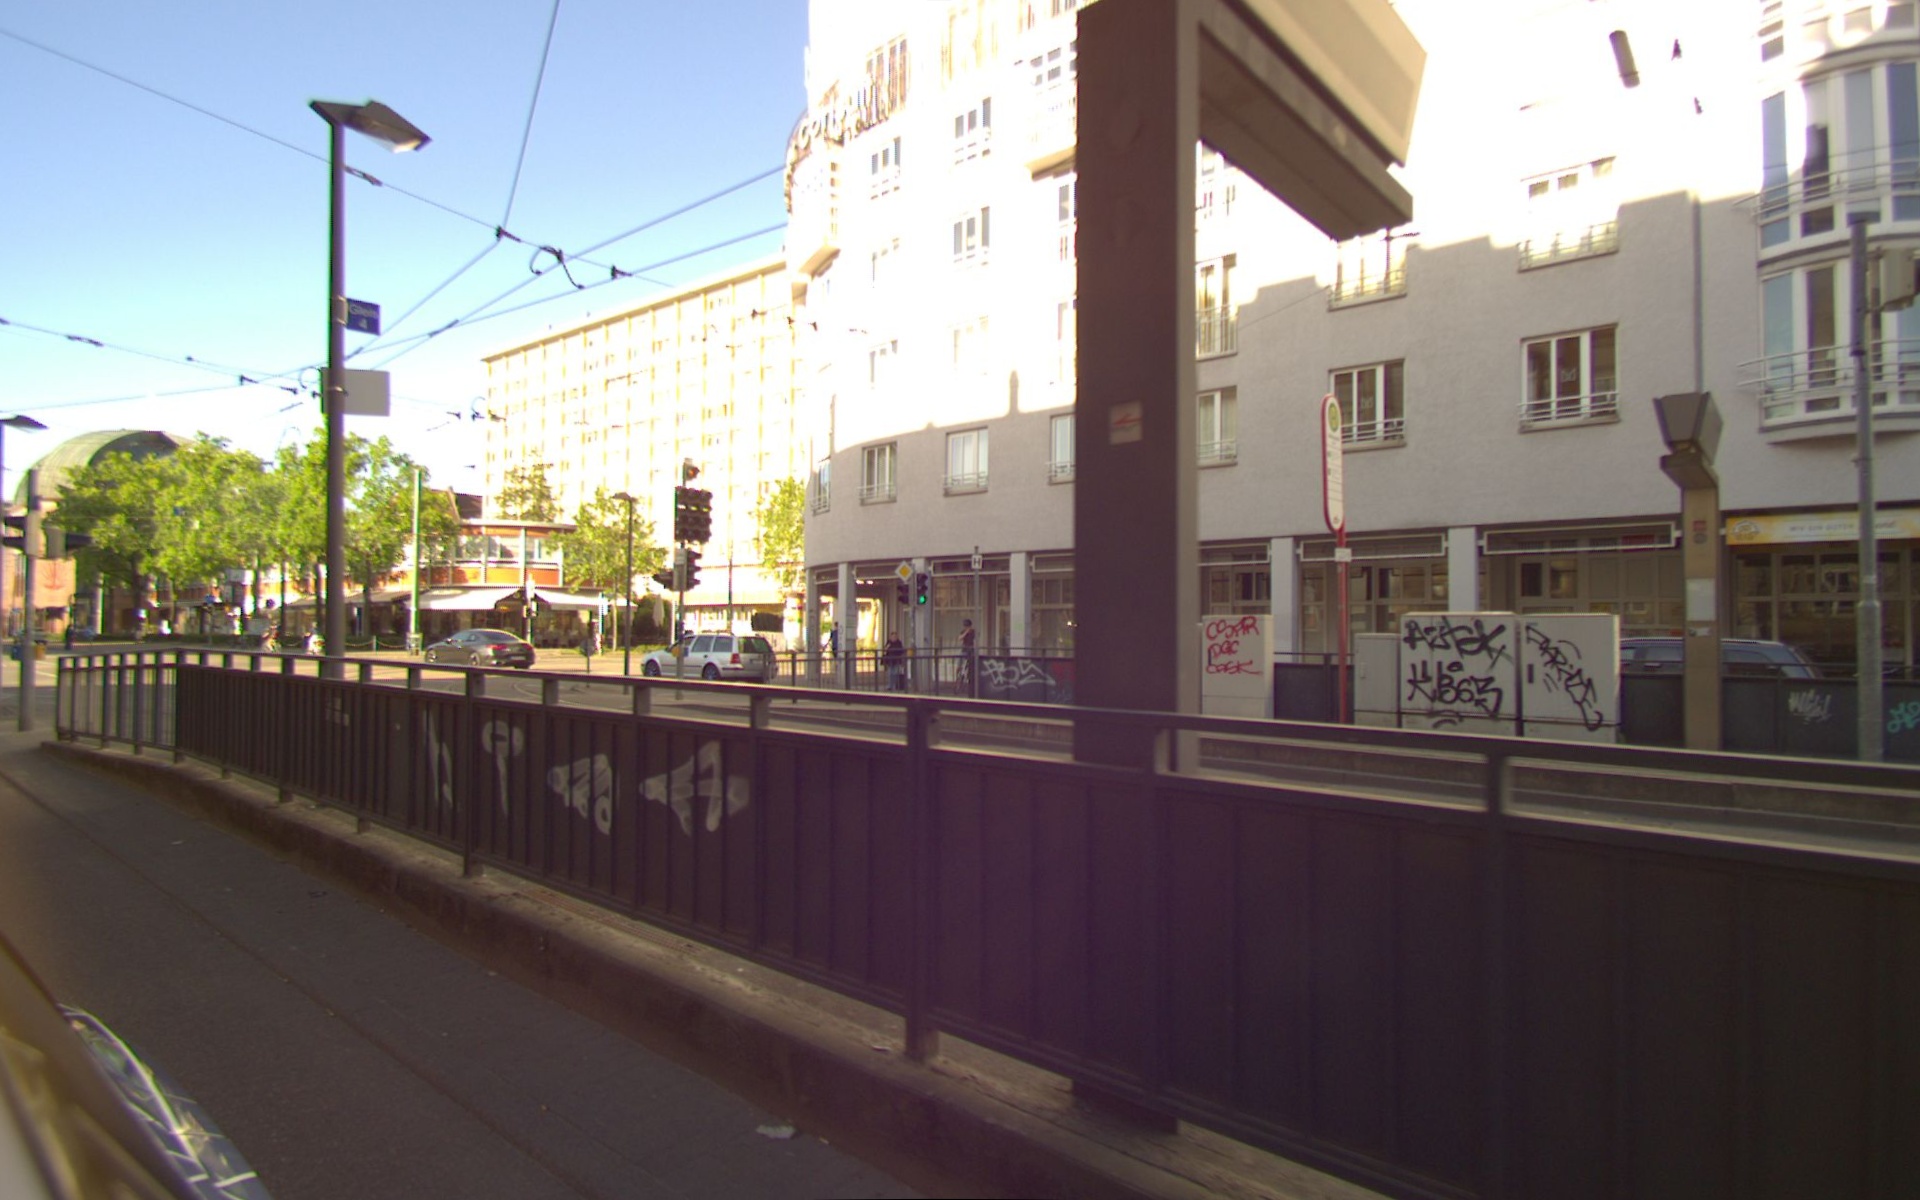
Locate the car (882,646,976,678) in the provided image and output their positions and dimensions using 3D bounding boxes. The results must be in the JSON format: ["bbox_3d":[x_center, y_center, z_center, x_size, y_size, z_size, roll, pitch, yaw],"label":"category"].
[{"bbox_3d":[-1.454,2.905,47.283,4.082,1.414,1.787,-3,-4,27],"label":"car"}]

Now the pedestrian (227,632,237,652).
[{"bbox_3d":[-65.385,3.765,90.906,0.706,1.785,0.566,-2,-4,42],"label":"pedestrian"}]

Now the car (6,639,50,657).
[{"bbox_3d":[-76.387,3.920,82.940,4.645,1.463,1.974,-2,-3,39],"label":"car"}]

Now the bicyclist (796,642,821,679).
[{"bbox_3d":[-6.535,2.602,43.662,0.589,1.597,0.885,0,-3,36],"label":"bicyclist"}]

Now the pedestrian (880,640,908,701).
[{"bbox_3d":[-1.718,1.829,26.363,0.675,1.546,0.442,-1,-3,4],"label":"pedestrian"}]

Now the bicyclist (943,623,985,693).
[{"bbox_3d":[0.098,1.433,25.351,0.711,1.708,1.032,1,-2,-21],"label":"bicyclist"}]

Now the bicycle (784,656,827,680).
[{"bbox_3d":[-6.616,2.894,43.467,0.594,0.980,2.023,0,-2,35],"label":"bicycle"}]

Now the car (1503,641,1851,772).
[{"bbox_3d":[9.597,1.341,13.701,3.644,1.521,1.673,-3,-3,42],"label":"car"}]

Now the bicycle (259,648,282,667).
[{"bbox_3d":[-37.247,3.102,54.657,1.817,0.980,0.587,0,-3,42],"label":"bicycle"}]

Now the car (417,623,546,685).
[{"bbox_3d":[-16.158,1.775,34.075,4.605,1.925,2.204,-1,-3,40],"label":"car"}]

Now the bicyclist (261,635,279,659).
[{"bbox_3d":[-37.232,2.523,54.601,0.926,1.295,0.582,0,-3,41],"label":"bicyclist"}]

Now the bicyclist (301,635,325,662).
[{"bbox_3d":[-31.900,2.387,49.898,0.988,1.295,0.584,0,-2,31],"label":"bicyclist"}]

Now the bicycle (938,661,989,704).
[{"bbox_3d":[0.063,2.052,25.358,0.666,0.987,1.767,1,-2,-22],"label":"bicycle"}]

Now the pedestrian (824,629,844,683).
[{"bbox_3d":[-4.461,1.976,35.716,0.457,1.847,0.742,-2,-3,13],"label":"pedestrian"}]

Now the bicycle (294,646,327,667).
[{"bbox_3d":[-32.064,2.767,49.978,1.848,0.980,0.589,0,-2,32],"label":"bicycle"}]

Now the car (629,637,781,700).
[{"bbox_3d":[-6.901,1.767,27.147,4.401,1.526,1.711,-1,-3,40],"label":"car"}]

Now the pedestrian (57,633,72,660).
[{"bbox_3d":[-52.723,2.730,59.588,0.858,1.529,0.494,-2,-5,41],"label":"pedestrian"}]

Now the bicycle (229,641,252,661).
[{"bbox_3d":[-42.855,3.024,60.258,2.233,1.195,0.492,-2,-3,39],"label":"bicycle"}]
